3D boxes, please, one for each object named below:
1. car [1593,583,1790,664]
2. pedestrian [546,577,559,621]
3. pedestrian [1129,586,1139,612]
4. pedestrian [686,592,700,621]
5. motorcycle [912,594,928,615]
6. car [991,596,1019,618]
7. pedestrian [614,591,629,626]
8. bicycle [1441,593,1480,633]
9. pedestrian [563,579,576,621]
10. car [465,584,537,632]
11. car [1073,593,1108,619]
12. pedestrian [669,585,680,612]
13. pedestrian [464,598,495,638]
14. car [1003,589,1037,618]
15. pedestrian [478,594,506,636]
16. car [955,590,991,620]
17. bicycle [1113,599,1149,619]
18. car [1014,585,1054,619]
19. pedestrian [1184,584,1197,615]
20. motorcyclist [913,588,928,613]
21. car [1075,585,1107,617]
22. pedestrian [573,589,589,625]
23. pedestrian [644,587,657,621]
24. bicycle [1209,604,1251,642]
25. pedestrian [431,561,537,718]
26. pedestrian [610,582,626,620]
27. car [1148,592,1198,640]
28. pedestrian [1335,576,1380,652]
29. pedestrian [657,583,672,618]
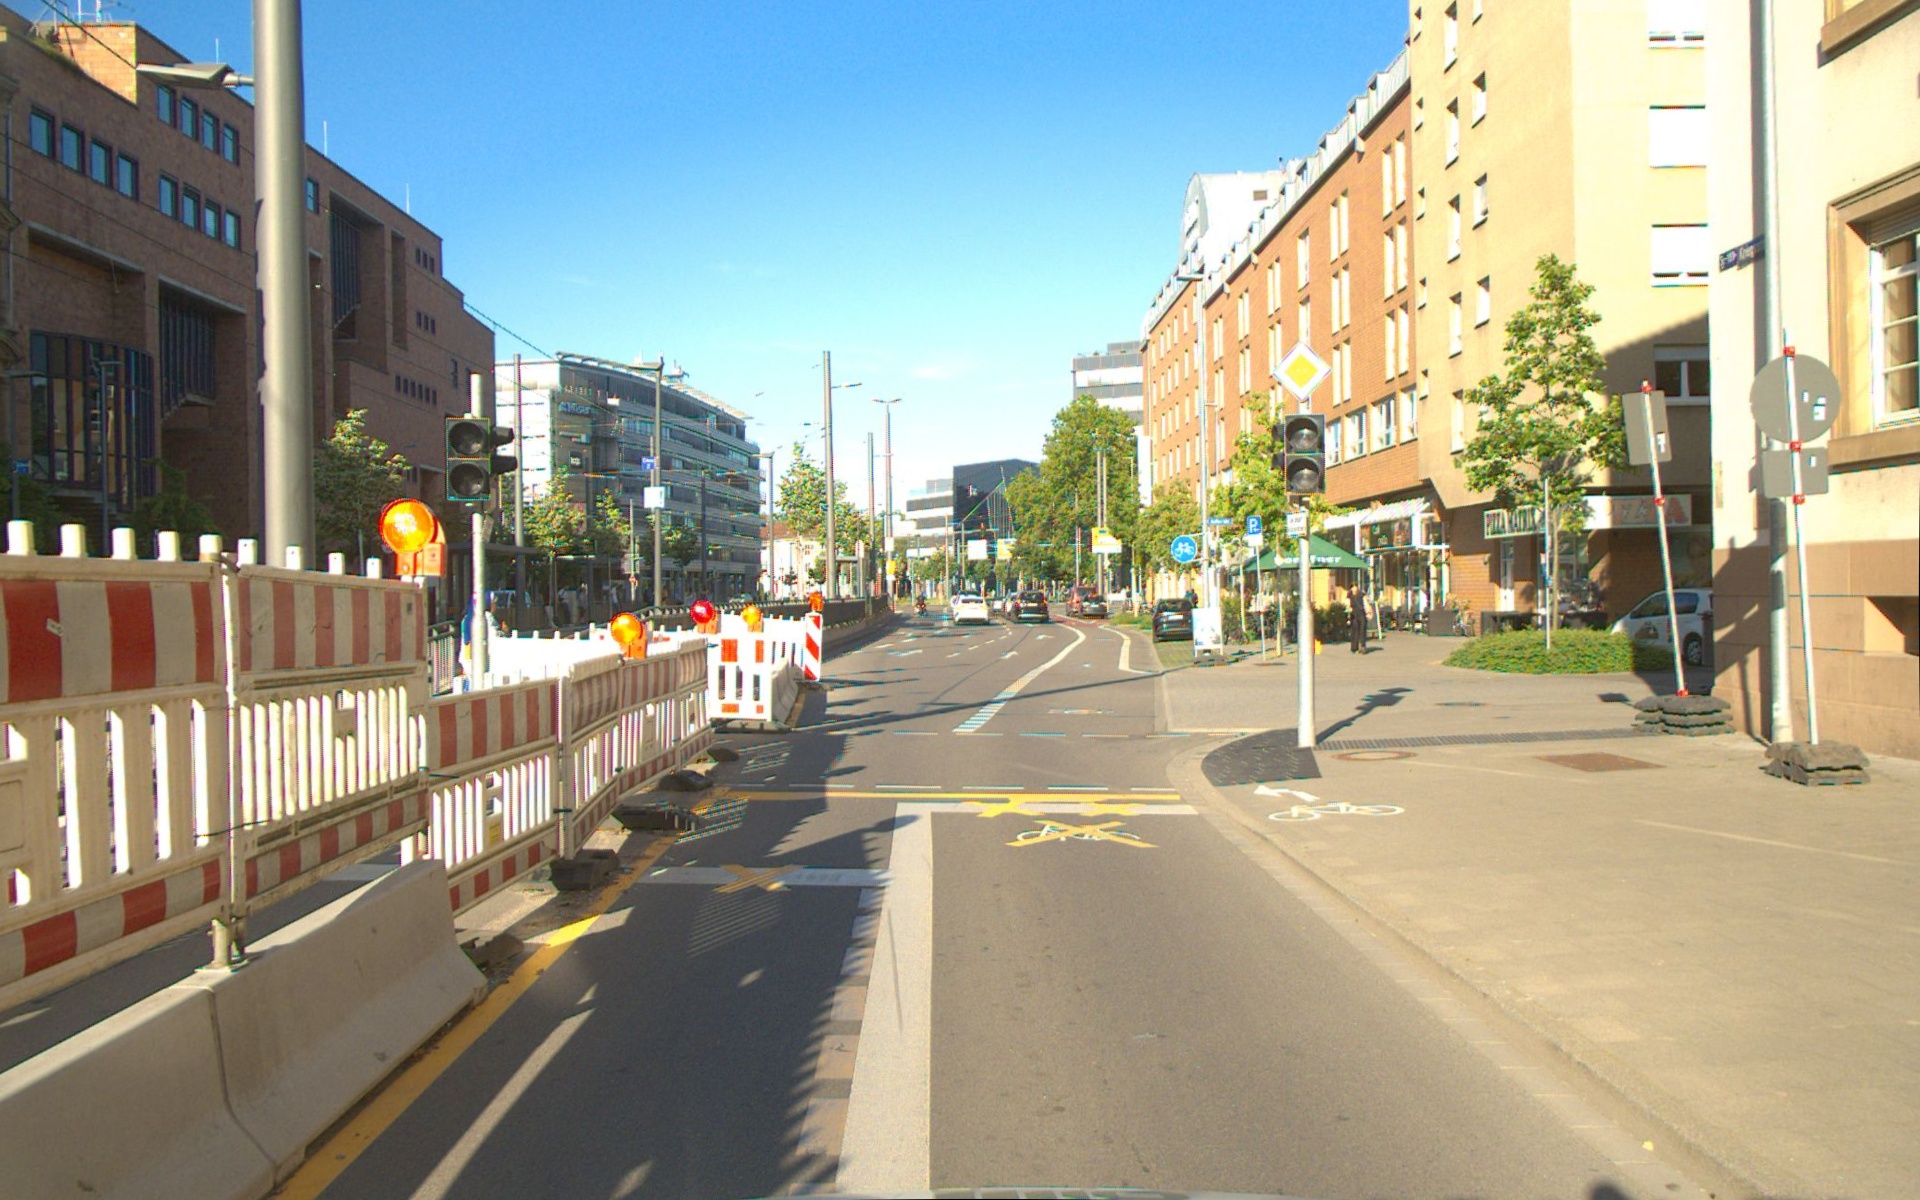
[{"bbox_3d":[14.432,0.426,32.852,1.633,1.500,3.825,1,0,-12],"label":"car"},{"bbox_3d":[-15.762,-0.043,63.954,0.370,1.677,0.416,1,0,0],"label":"pedestrian"},{"bbox_3d":[12.415,-0.085,117.960,0.594,1.853,0.748,-1,0,-1],"label":"pedestrian"},{"bbox_3d":[-15.381,0.384,95.165,0.627,1.672,0.945,1,0,0],"label":"pedestrian"},{"bbox_3d":[-2.644,0.277,110.763,0.998,1.335,2.914,1,0,0],"label":"motorcycle"},{"bbox_3d":[3.114,0.479,115.601,1.813,1.524,4.378,0,1,-1],"label":"car"},{"bbox_3d":[-16.074,0.413,78.582,0.610,1.640,0.616,0,0,0],"label":"pedestrian"},{"bbox_3d":[15.308,0.389,50.631,0.601,1.190,1.536,-2,0,-4],"label":"bicycle"},{"bbox_3d":[-15.760,-0.004,66.769,0.370,1.649,0.553,1,0,0],"label":"pedestrian"},{"bbox_3d":[-19.046,0.305,68.816,1.954,1.913,4.580,-1,0,-4],"label":"car"},{"bbox_3d":[8.106,0.349,102.988,1.809,1.588,4.632,1,0,0],"label":"car"},{"bbox_3d":[-17.255,-0.080,100.066,0.552,1.637,0.616,0,0,0],"label":"pedestrian"},{"bbox_3d":[-14.845,0.558,51.094,0.706,1.188,0.721,-3,0,-1],"label":"pedestrian"},{"bbox_3d":[3.520,0.183,98.334,1.813,1.668,4.378,0,0,-1],"label":"car"},{"bbox_3d":[-15.034,0.474,53.131,0.633,1.331,0.721,-3,0,-1],"label":"pedestrian"},{"bbox_3d":[0.631,0.243,84.980,1.744,1.439,4.818,1,0,-1],"label":"car"},{"bbox_3d":[9.437,0.510,91.296,1.904,1.040,0.502,-2,-1,17],"label":"bicycle"},{"bbox_3d":[4.024,0.097,90.645,1.934,1.790,4.632,1,0,0],"label":"car"},{"bbox_3d":[13.714,-0.039,98.437,0.594,1.853,0.748,0,0,-1],"label":"pedestrian"},{"bbox_3d":[-2.646,0.039,110.759,0.998,1.631,1.148,1,0,0],"label":"motorcyclist"},{"bbox_3d":[8.645,0.063,109.614,1.822,1.995,4.000,2,0,1],"label":"car"},{"bbox_3d":[-15.902,0.300,69.421,0.528,1.485,0.642,1,0,0],"label":"pedestrian"},{"bbox_3d":[-15.964,0.217,85.388,0.570,1.768,0.616,0,0,0],"label":"pedestrian"},{"bbox_3d":[8.460,0.716,51.858,0.750,1.100,1.996,-6,-1,-4],"label":"bicycle"},{"bbox_3d":[-4.680,0.379,16.310,0.773,1.483,0.946,-1,0,-3],"label":"pedestrian"},{"bbox_3d":[-16.106,0.048,77.827,0.610,1.744,0.616,0,0,0],"label":"pedestrian"},{"bbox_3d":[7.929,0.578,61.783,1.684,1.665,4.234,-2,0,6],"label":"car"},{"bbox_3d":[9.658,0.335,40.194,0.866,1.794,1.105,-3,-1,19],"label":"pedestrian"},{"bbox_3d":[-14.902,0.025,83.315,0.627,1.725,0.541,1,0,0],"label":"pedestrian"}]
